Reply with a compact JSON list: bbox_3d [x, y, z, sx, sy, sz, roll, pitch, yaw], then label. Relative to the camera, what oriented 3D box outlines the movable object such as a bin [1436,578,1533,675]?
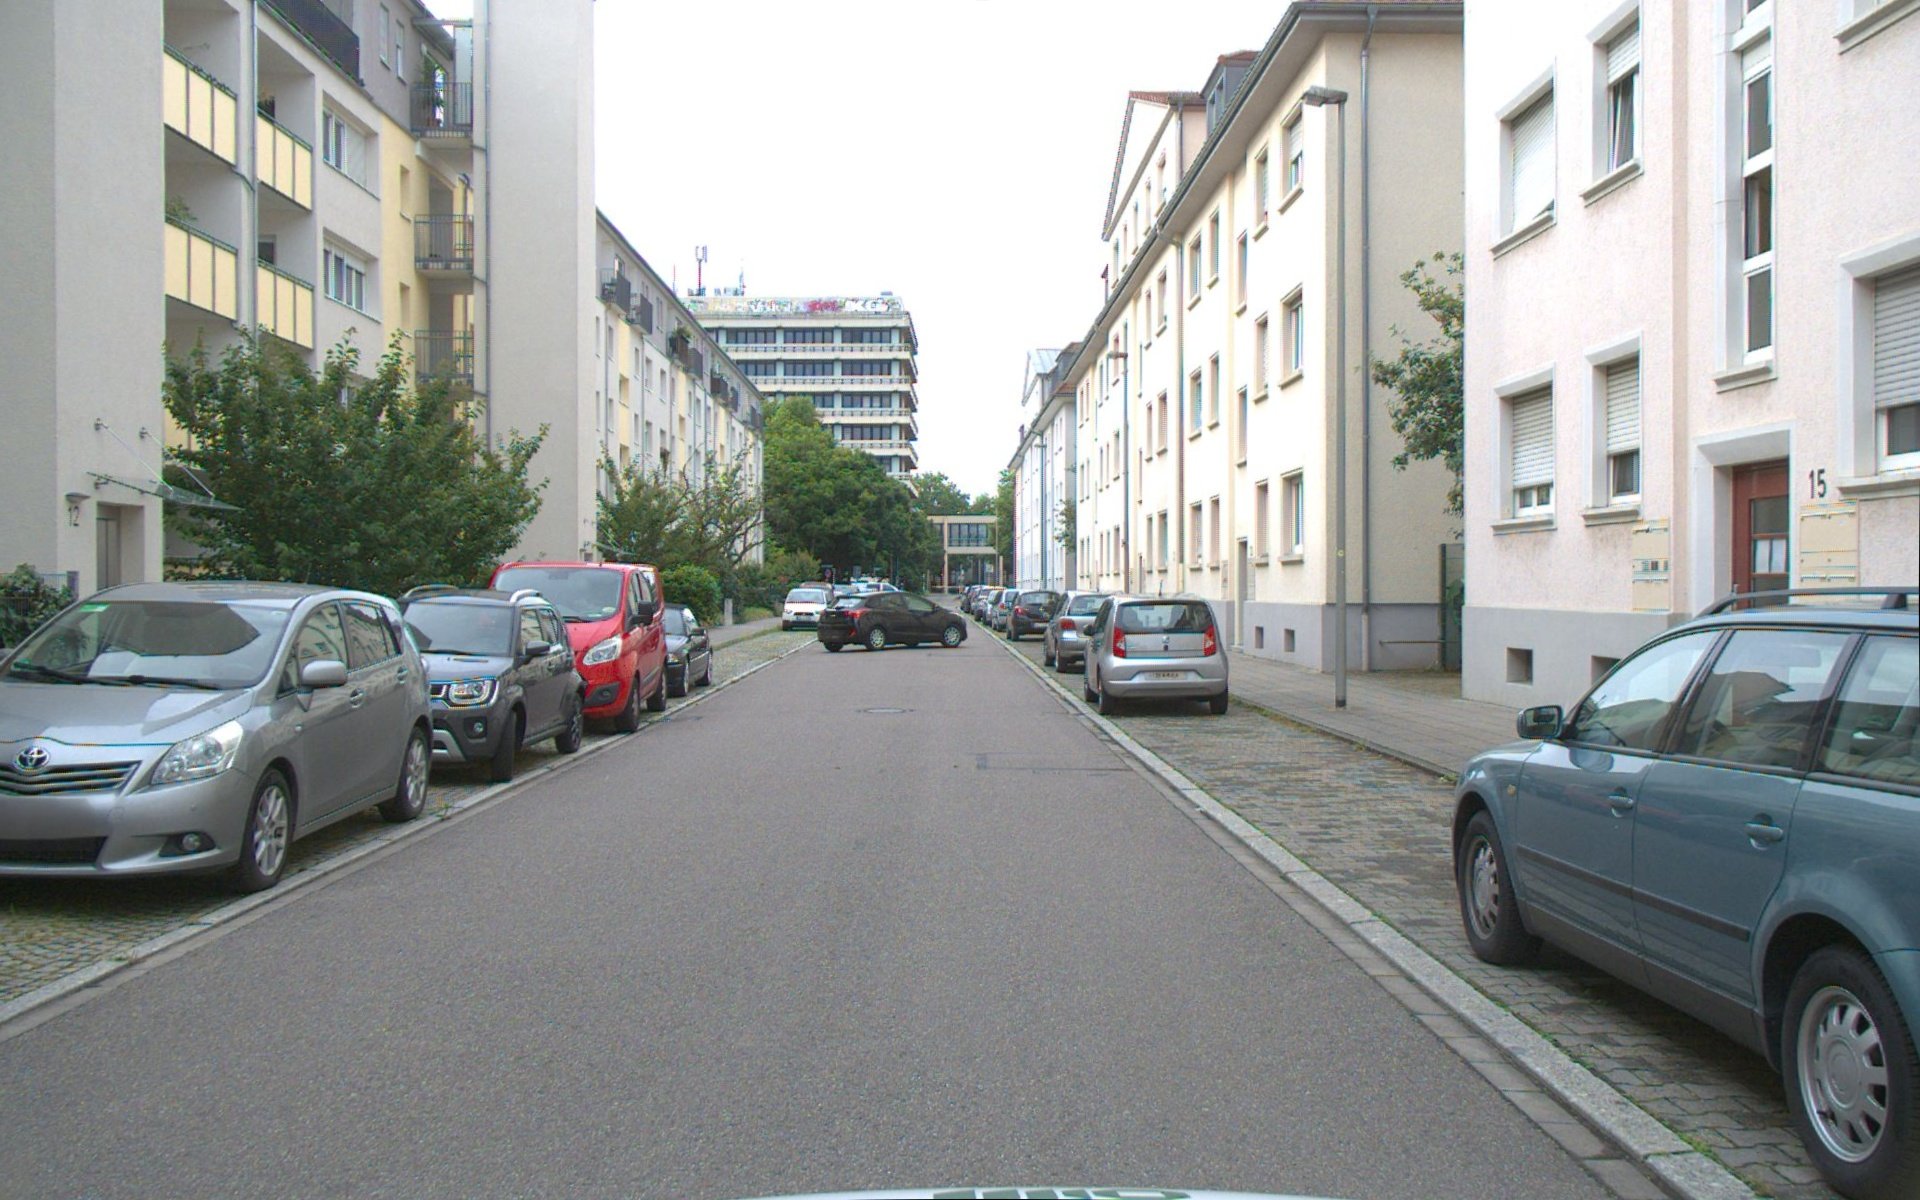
[{"bbox_3d":[8.142,0.400,25.729,1.138,1.469,1.149,0,0,-1],"label":"movable object such as a bin"}]

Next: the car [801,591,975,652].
[{"bbox_3d":[-1.768,0.496,41.530,4.199,1.458,1.879,0,0,-43],"label":"car"}]

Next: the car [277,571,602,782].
[{"bbox_3d":[-4.547,0.595,15.079,1.686,1.597,4.053,2,0,-1],"label":"car"}]

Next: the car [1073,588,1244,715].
[{"bbox_3d":[2.521,0.601,21.841,1.690,1.518,4.060,0,0,-1],"label":"car"}]

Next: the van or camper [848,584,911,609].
[{"bbox_3d":[-6.527,-0.296,133.501,5.070,2.049,1.998,0,0,-5],"label":"van or camper"}]

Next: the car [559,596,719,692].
[{"bbox_3d":[-5.028,0.646,26.461,1.832,1.346,4.360,2,0,-2],"label":"car"}]

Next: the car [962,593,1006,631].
[{"bbox_3d":[0.989,0.488,69.432,1.690,1.502,4.504,1,0,-1],"label":"car"}]

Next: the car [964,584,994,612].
[{"bbox_3d":[1.128,-0.147,99.300,1.783,1.631,4.091,0,0,0],"label":"car"}]

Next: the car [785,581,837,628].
[{"bbox_3d":[-5.995,0.165,67.019,1.917,1.801,4.359,1,0,-3],"label":"car"}]

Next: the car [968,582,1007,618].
[{"bbox_3d":[1.278,-0.006,78.376,1.783,1.671,4.091,0,0,0],"label":"car"}]

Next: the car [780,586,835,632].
[{"bbox_3d":[-5.619,0.306,61.191,1.686,1.597,3.869,2,0,-1],"label":"car"}]

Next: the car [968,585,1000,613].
[{"bbox_3d":[1.348,-0.059,94.418,1.783,1.529,4.091,0,0,0],"label":"car"}]

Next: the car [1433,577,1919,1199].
[{"bbox_3d":[3.003,0.679,5.272,1.690,1.494,4.263,0,0,-1],"label":"car"}]

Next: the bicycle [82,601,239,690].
[{"bbox_3d":[-10.626,0.600,21.999,1.797,1.138,0.570,1,0,0],"label":"bicycle"}]

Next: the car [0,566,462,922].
[{"bbox_3d":[-4.554,0.638,10.007,1.798,1.597,4.859,2,0,-3],"label":"car"}]

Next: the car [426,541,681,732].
[{"bbox_3d":[-4.817,0.382,20.406,2.109,1.988,4.919,2,0,-3],"label":"car"}]

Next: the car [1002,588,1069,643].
[{"bbox_3d":[2.197,0.419,48.836,1.690,1.544,4.060,0,0,-1],"label":"car"}]

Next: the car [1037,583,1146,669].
[{"bbox_3d":[2.471,0.457,31.984,1.690,1.544,4.060,0,0,-1],"label":"car"}]

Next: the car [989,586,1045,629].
[{"bbox_3d":[2.023,0.238,59.139,1.811,1.475,3.832,0,0,-1],"label":"car"}]
